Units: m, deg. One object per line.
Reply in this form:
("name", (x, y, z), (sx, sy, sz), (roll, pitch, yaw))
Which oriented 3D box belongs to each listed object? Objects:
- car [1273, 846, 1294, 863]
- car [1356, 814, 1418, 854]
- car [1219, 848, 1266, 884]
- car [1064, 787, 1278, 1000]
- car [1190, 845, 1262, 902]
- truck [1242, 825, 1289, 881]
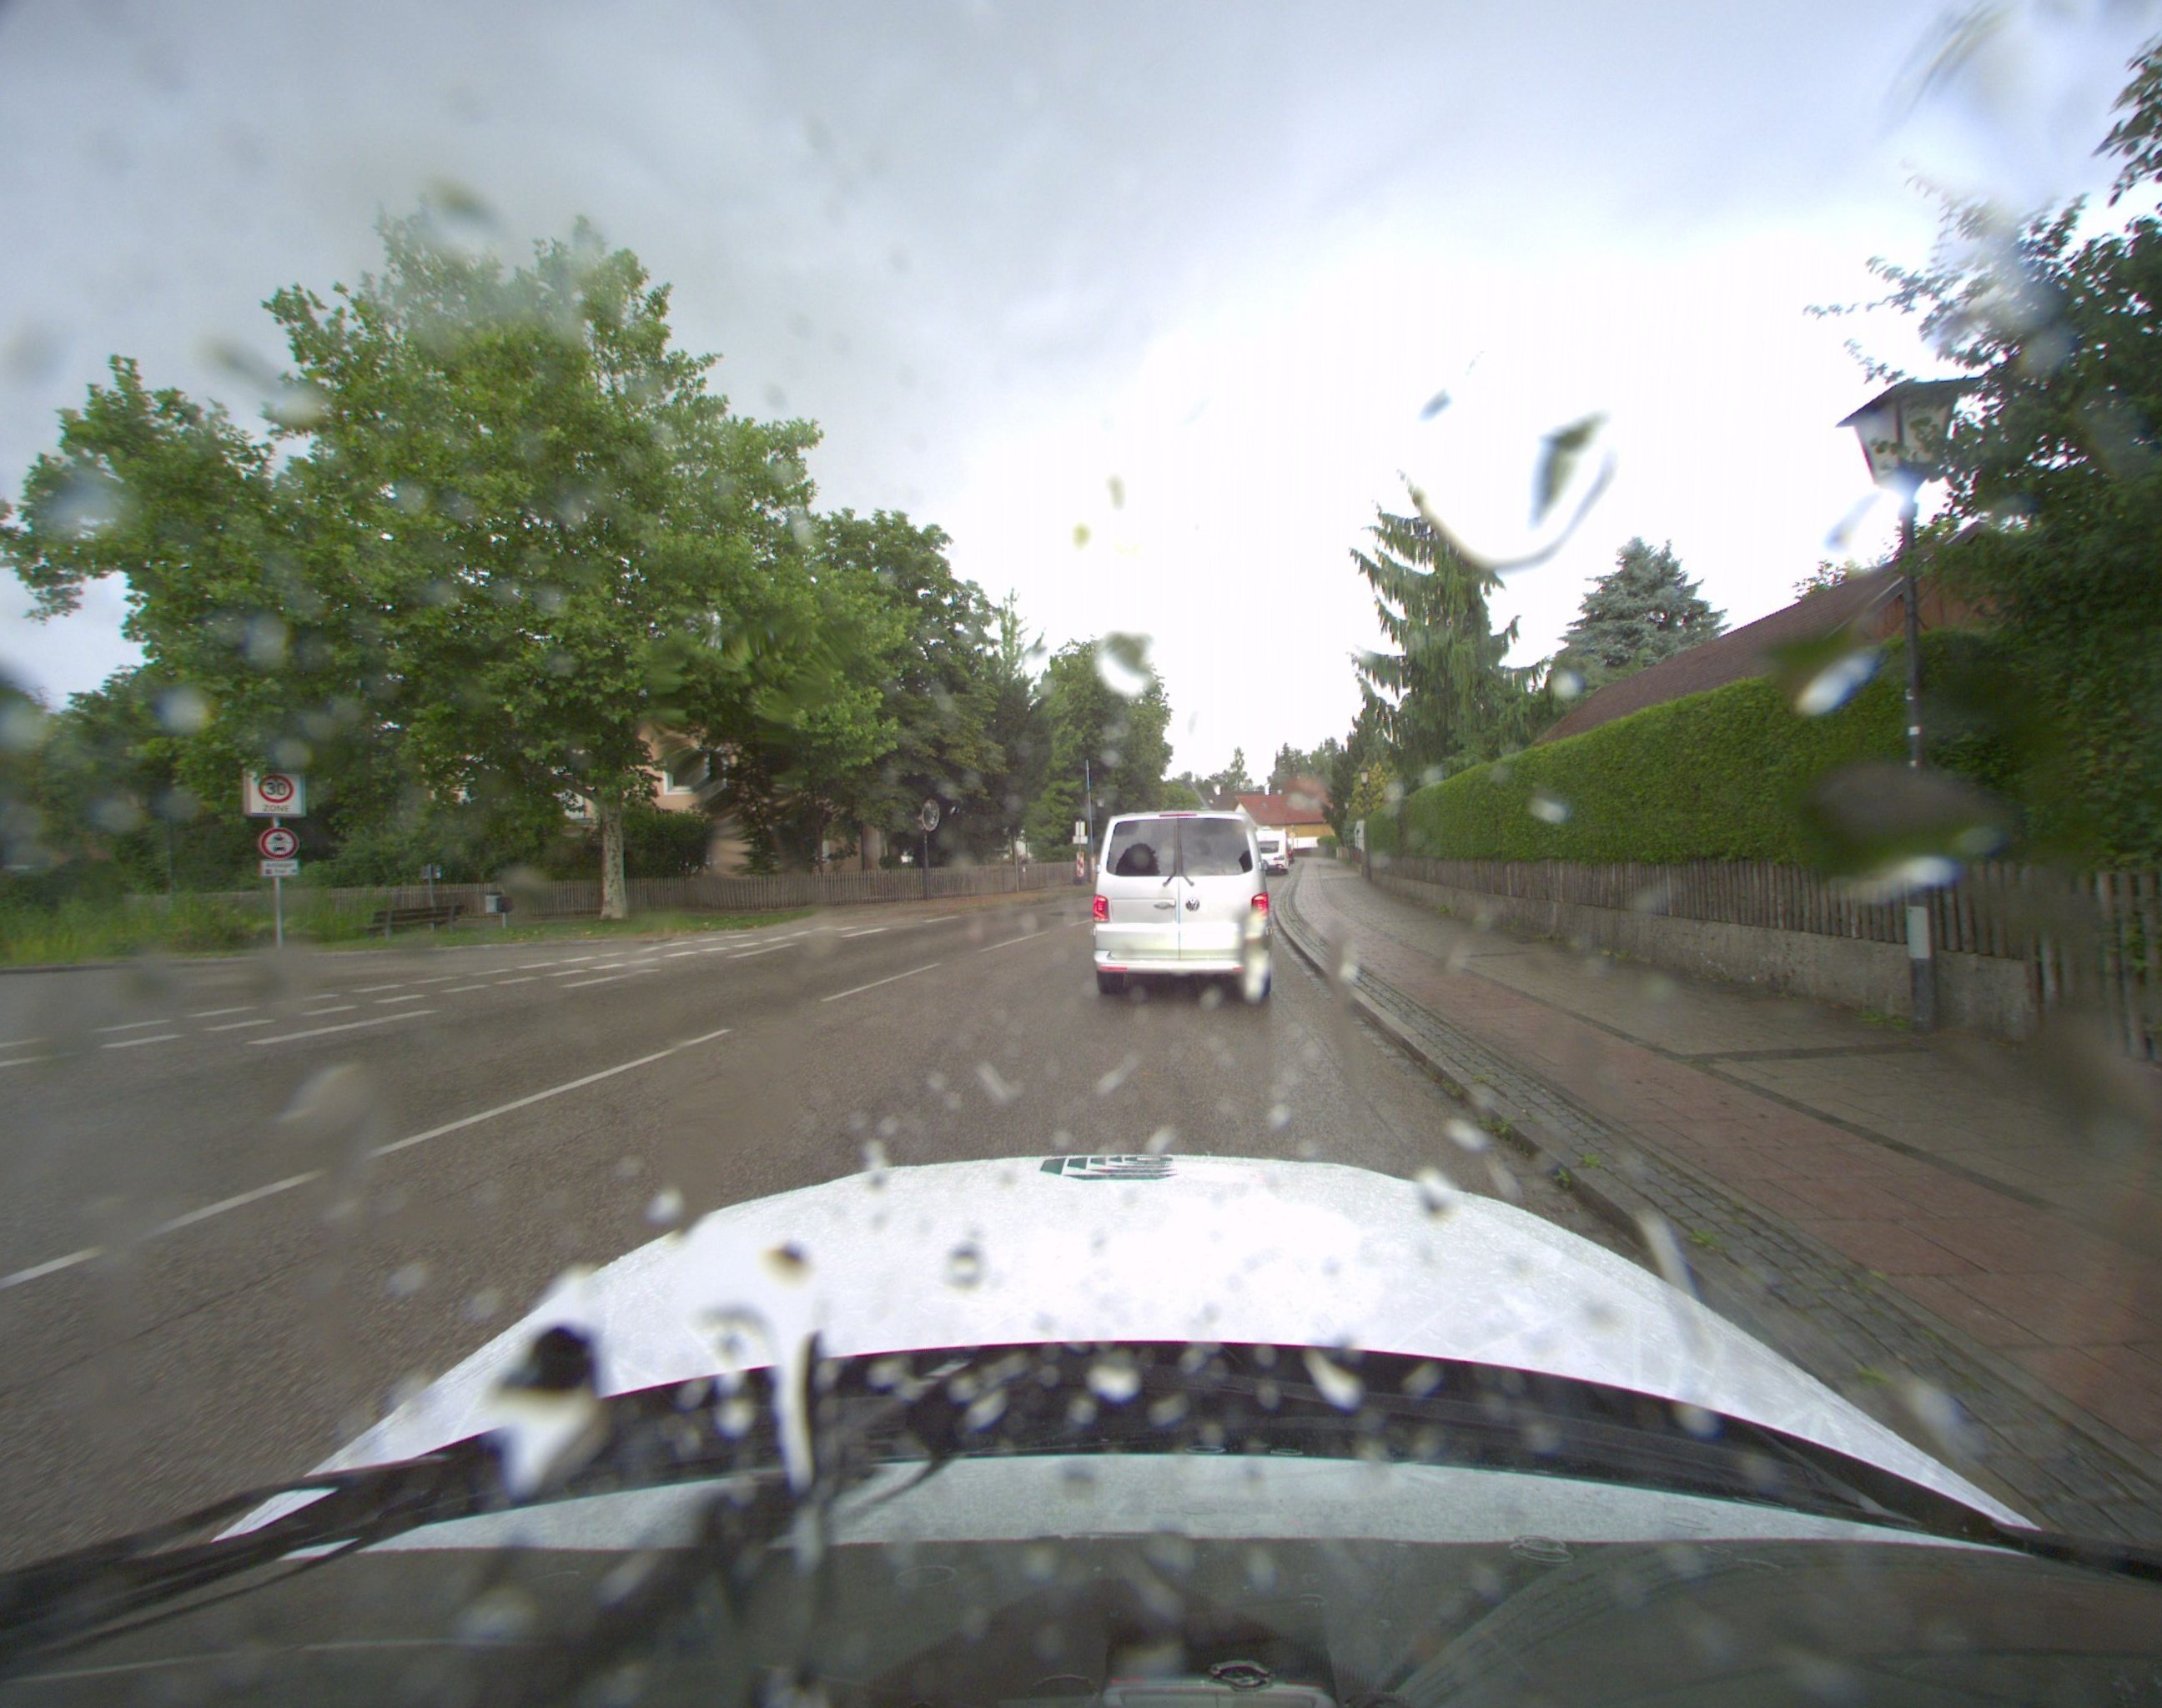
("car", (18.662, 0.091, 75.097), (1.787, 1.508, 4.016), (-1, -1, 15))
("car", (17.958, -1.119, 48.089), (1.986, 2.173, 4.955), (0, -1, 2))
("car", (7.299, 0.521, 36.604), (1.787, 1.508, 4.016), (-1, -1, 15))
("car", (1.301, 0.391, 9.858), (1.786, 2.014, 4.018), (-1, -1, 18))
("car", (4.478, 0.557, 24.772), (1.787, 1.588, 4.016), (-1, -1, 15))
("truck", (11.016, -0.025, 48.296), (2.457, 3.074, 6.321), (-1, -1, 15))
